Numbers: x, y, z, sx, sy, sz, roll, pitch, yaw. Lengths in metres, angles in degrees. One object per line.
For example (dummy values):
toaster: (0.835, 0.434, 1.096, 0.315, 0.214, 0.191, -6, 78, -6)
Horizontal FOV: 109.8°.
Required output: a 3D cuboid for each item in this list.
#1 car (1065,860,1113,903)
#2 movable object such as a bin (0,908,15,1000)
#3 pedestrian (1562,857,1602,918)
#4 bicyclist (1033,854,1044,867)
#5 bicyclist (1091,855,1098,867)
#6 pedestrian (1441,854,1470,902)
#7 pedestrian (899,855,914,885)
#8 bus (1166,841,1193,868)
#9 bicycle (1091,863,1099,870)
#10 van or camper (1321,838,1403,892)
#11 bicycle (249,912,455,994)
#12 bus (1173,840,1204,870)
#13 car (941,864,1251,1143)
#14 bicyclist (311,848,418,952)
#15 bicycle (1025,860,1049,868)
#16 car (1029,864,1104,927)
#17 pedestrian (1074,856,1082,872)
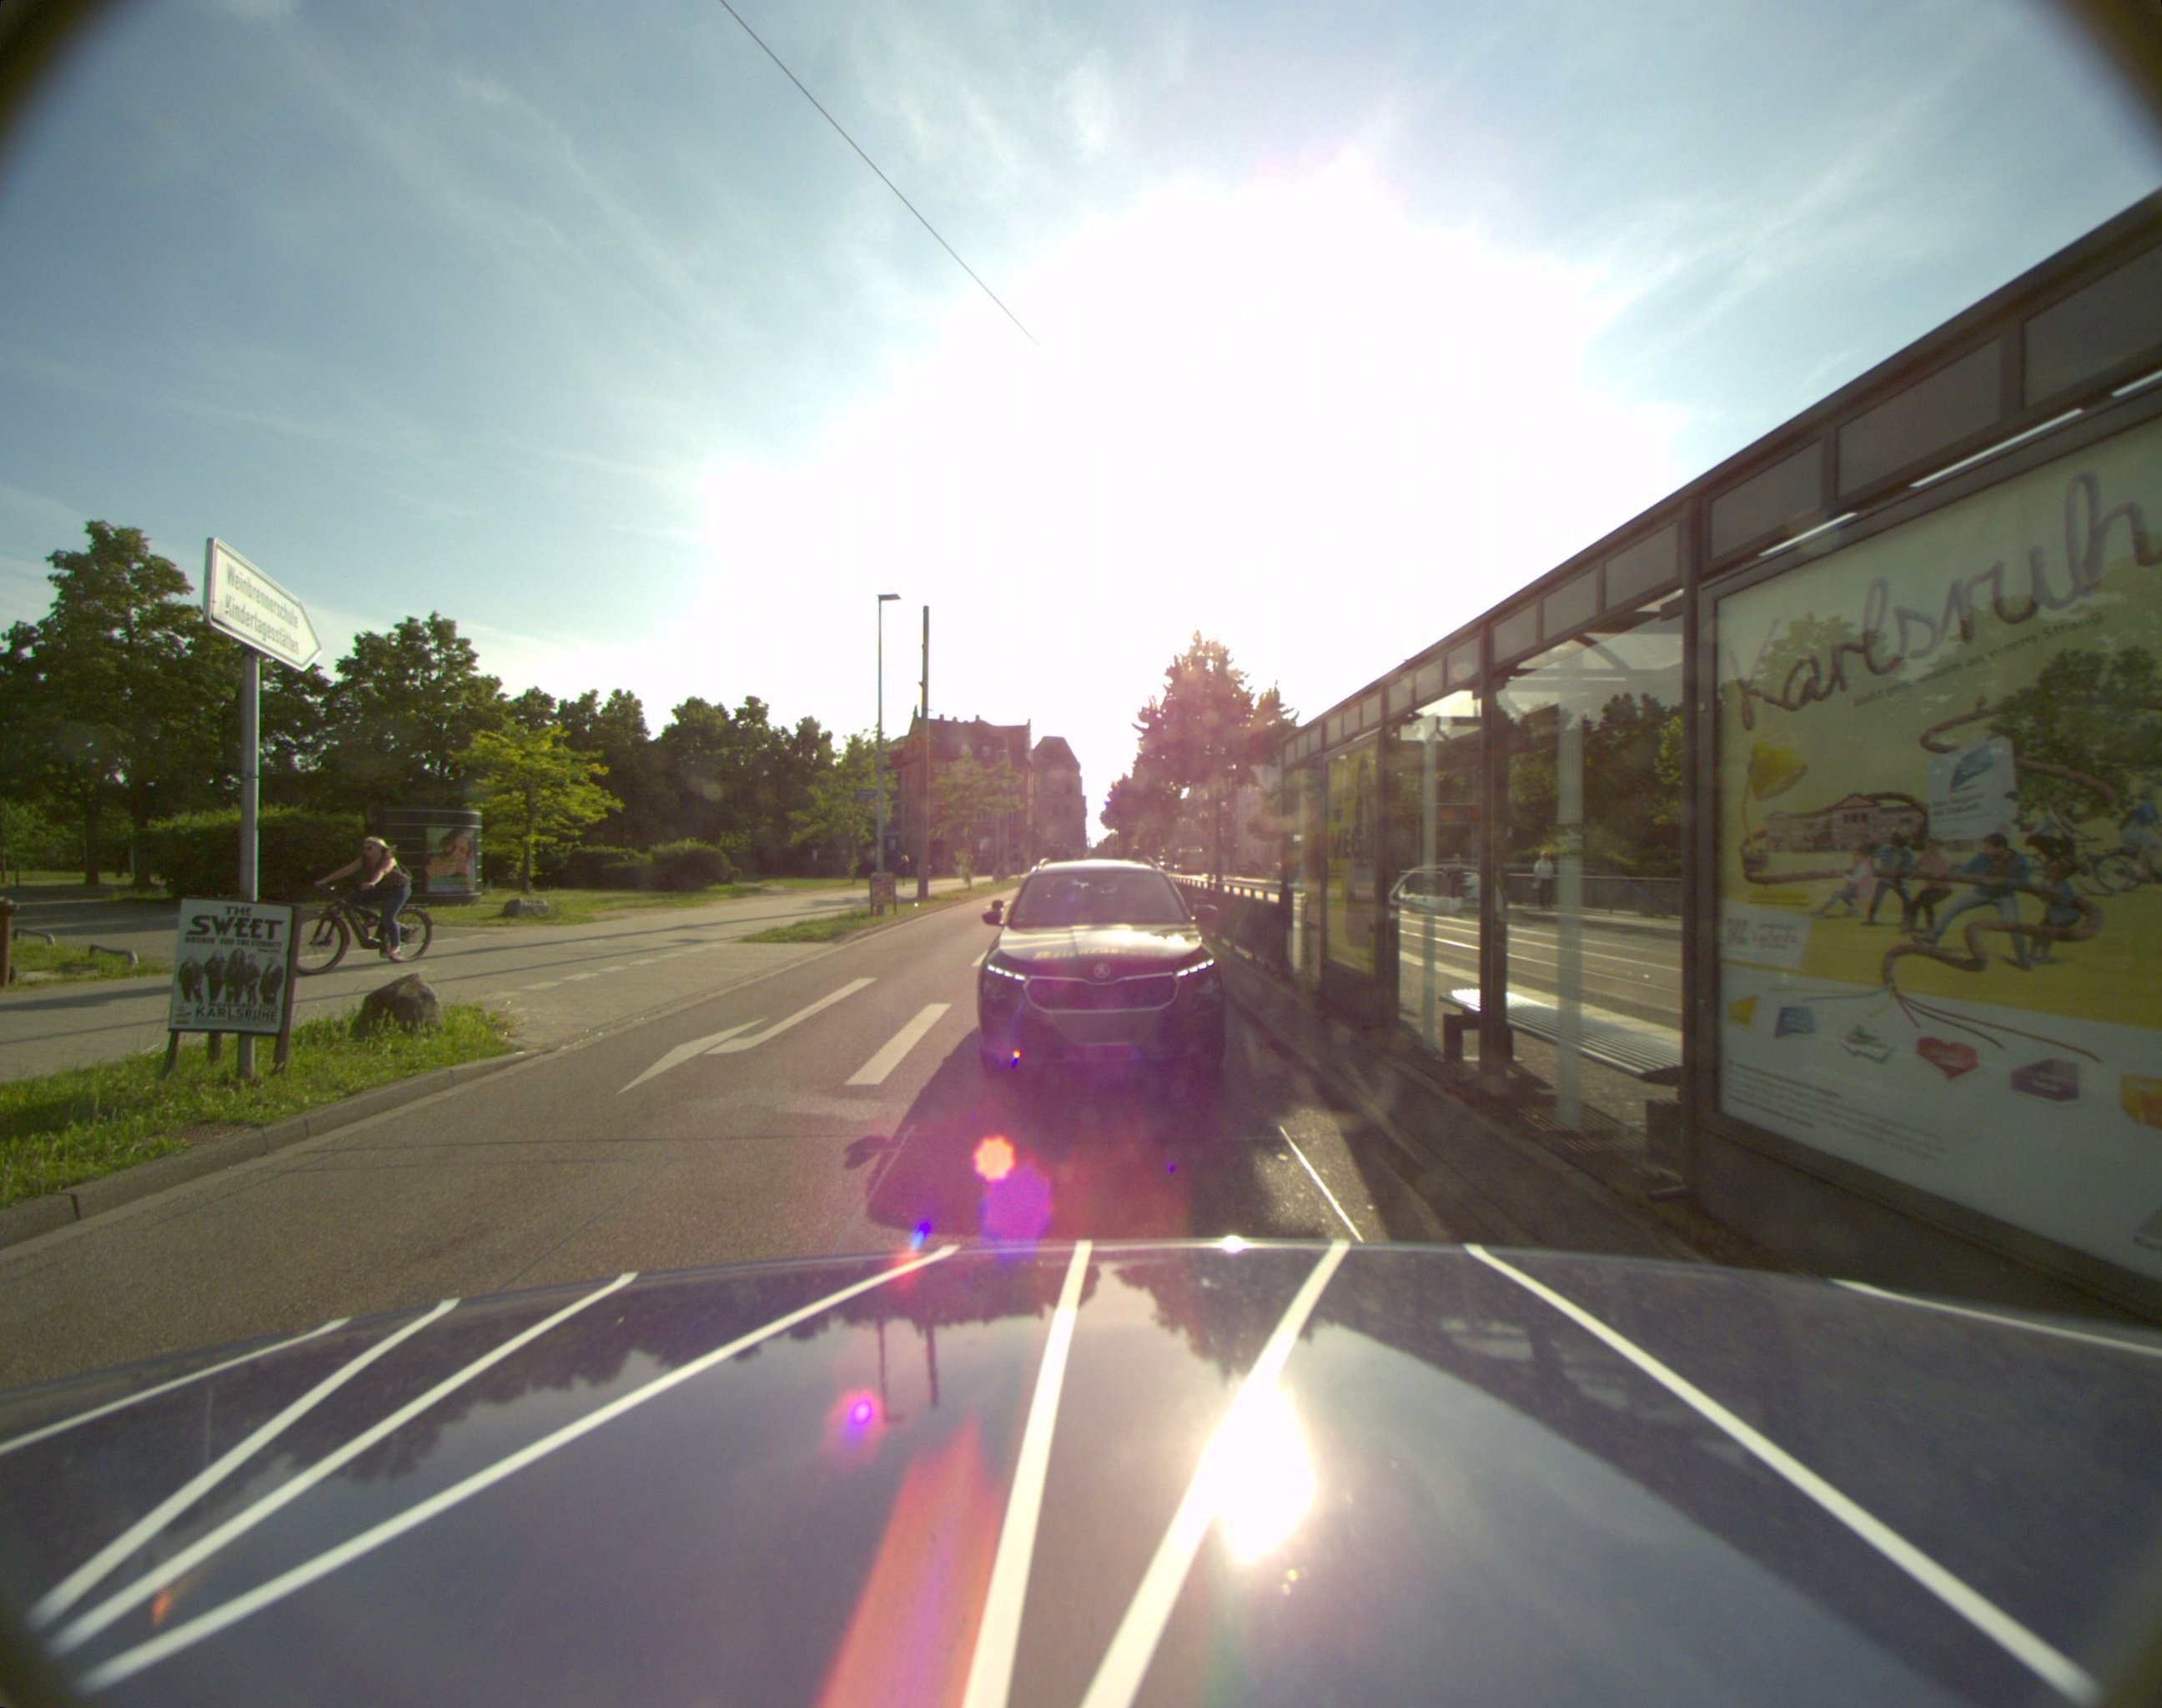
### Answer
car: (0.319, 1.049, 30.604, 1.756, 1.534, 4.235, -1, 0, 1)
movable object such as a bin: (-11.498, 1.046, 7.870, 0.603, 0.912, 0.457, 1, 0, 42)
pedestrian: (14.206, 0.938, 21.543, 0.621, 1.674, 0.618, 4, 0, 1)
bicyclist: (-5.370, 0.823, 95.852, 1.402, 1.538, 0.888, 0, 0, -2)
bicyclist: (1.707, 0.901, 94.489, 0.688, 1.445, 1.112, 0, 0, 12)
pedestrian: (13.515, 0.869, 27.428, 0.621, 1.674, 0.618, 4, 0, 1)
pedestrian: (-9.753, 0.889, 42.544, 0.621, 1.674, 0.618, -1, 0, 1)
bus: (13.172, -0.008, 102.029, 2.437, 3.415, 9.261, -2, 0, 1)
bicycle: (1.718, 1.525, 94.568, 0.566, 0.789, 2.043, 0, 0, 12)
van or camper: (16.623, 0.585, 45.456, 2.527, 2.950, 6.411, -2, 1, 1)
bicycle: (-9.085, 1.195, 9.621, 0.496, 0.753, 2.168, 1, 0, 1)
bus: (13.065, 0.058, 92.754, 2.437, 3.415, 9.261, -2, 0, 1)
car: (0.113, 0.895, 6.504, 1.756, 1.534, 4.235, -1, 0, 1)
bicyclist: (-9.072, 0.560, 9.651, 0.535, 1.255, 0.869, 0, 0, 1)
bicycle: (-5.530, 1.230, 95.827, 2.962, 0.974, 0.879, 0, 0, -2)
car: (-0.322, 1.024, 20.346, 1.756, 1.451, 4.235, -1, 0, 1)
pedestrian: (-0.272, 0.951, 71.763, 0.637, 1.512, 0.844, -2, 1, -3)
